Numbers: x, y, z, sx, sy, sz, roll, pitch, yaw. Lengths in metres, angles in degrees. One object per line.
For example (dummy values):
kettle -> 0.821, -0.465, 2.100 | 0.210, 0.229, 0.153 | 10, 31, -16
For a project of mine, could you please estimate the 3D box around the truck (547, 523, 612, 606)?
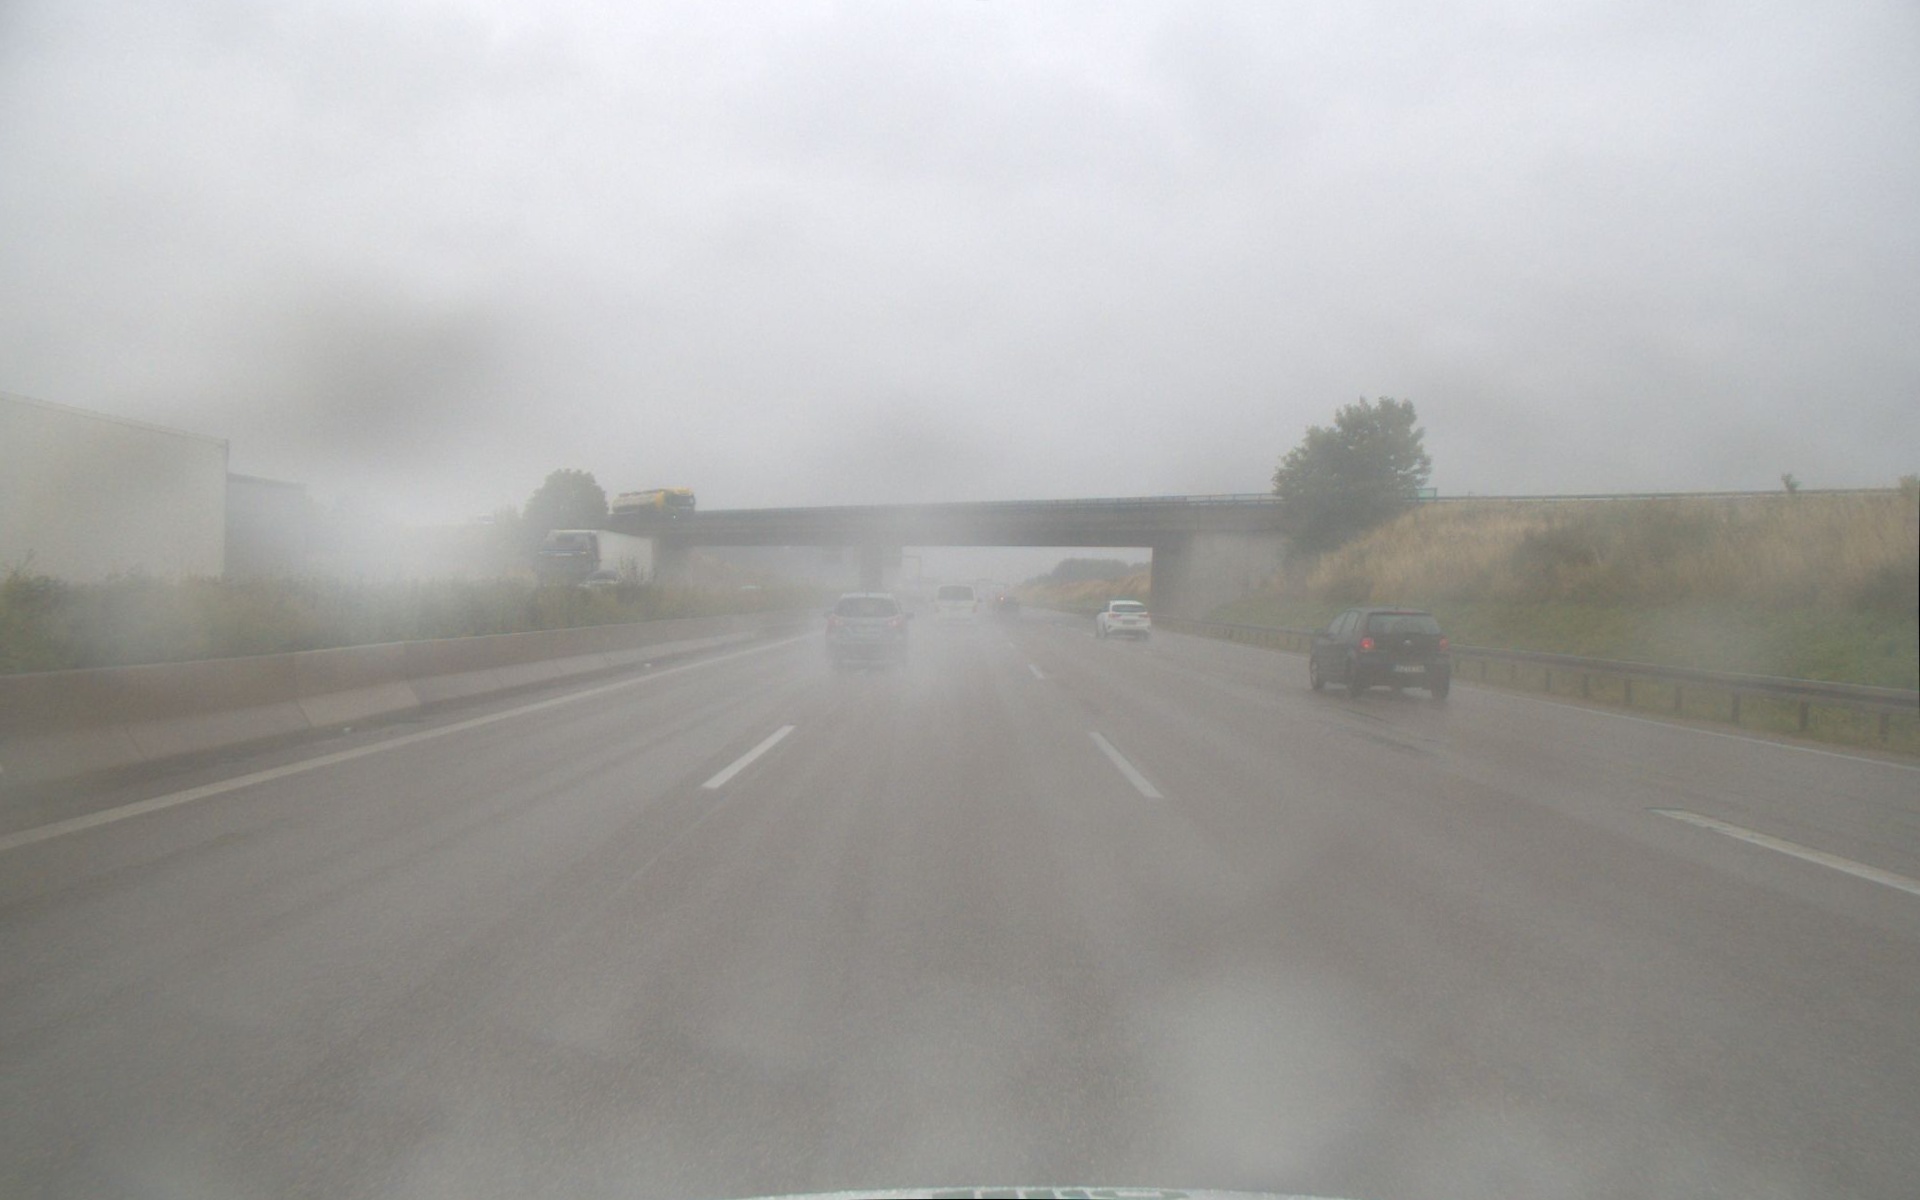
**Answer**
truck -> -18.457, -1.692, 80.483 | 1.952, 3.847, 4.813 | 1, 0, 0

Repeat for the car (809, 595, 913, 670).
car -> -2.120, 0.683, 36.697 | 1.808, 1.539, 4.758 | 1, 0, 3

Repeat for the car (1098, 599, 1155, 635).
car -> 6.378, 0.654, 63.689 | 1.952, 1.288, 4.001 | 1, 0, 2

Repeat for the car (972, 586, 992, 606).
car -> 2.421, -0.443, 181.409 | 1.954, 2.138, 3.998 | 2, 0, -3

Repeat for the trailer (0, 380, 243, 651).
trailer -> -15.288, -1.265, 25.683 | 2.760, 3.919, 12.406 | 2, 0, 0

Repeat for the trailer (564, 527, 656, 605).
trailer -> -18.479, -1.718, 88.304 | 1.953, 3.831, 13.859 | 0, 0, 0

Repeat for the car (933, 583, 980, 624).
car -> -0.131, 0.154, 69.032 | 1.858, 1.613, 4.000 | 1, 0, 0

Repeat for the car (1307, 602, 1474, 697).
car -> 7.136, 0.785, 27.760 | 1.697, 1.446, 3.656 | 1, 0, -3

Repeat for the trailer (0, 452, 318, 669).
trailer -> -19.311, -0.842, 39.812 | 2.761, 4.325, 13.234 | 1, 0, -1
